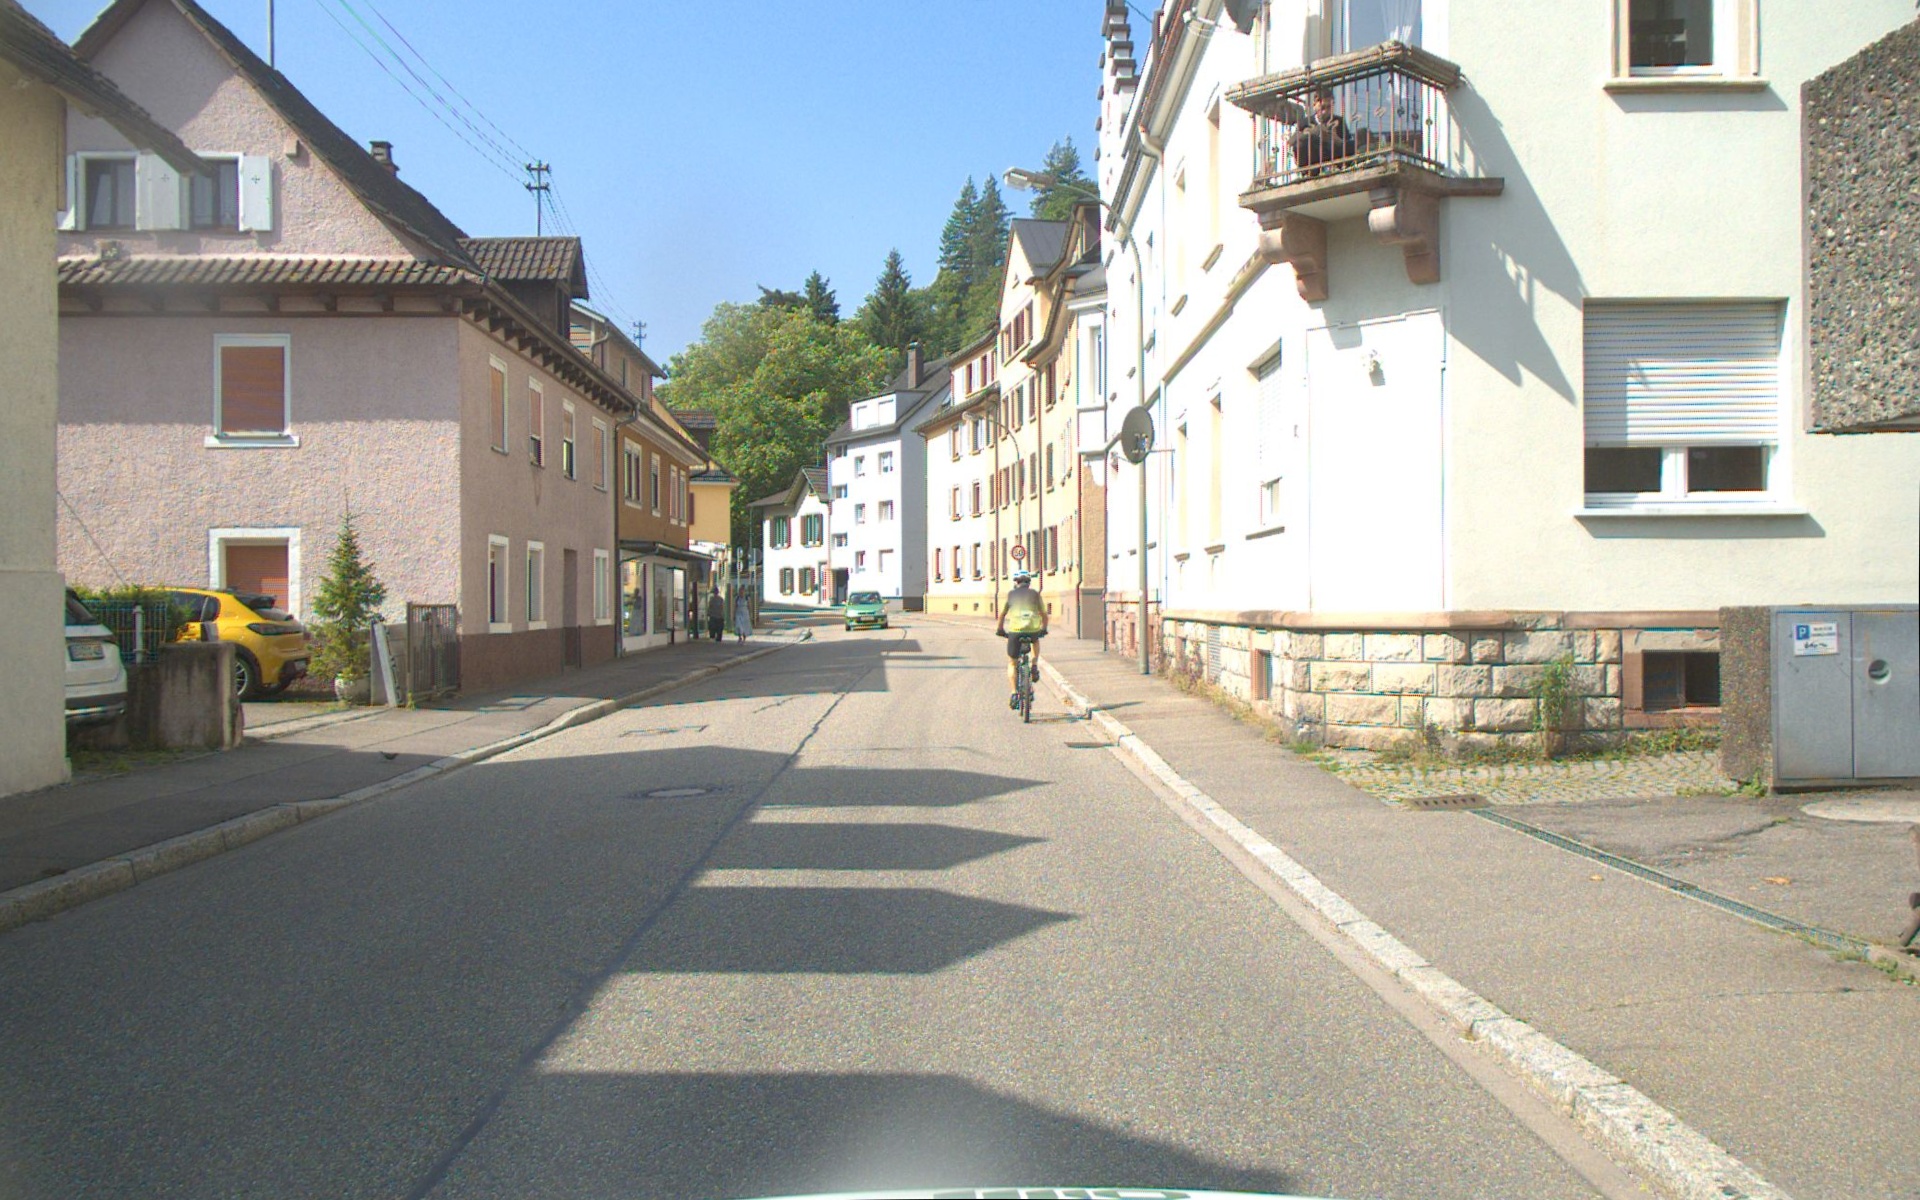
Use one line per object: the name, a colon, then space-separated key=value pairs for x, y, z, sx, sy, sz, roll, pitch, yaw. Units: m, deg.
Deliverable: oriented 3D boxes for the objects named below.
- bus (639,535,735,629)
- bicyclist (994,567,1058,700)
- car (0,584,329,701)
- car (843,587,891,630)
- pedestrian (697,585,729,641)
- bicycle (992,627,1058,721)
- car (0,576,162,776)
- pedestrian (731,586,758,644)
bus: x=-10.373 y=-0.672 z=63.680 sx=2.764 sy=3.284 sz=9.028 roll=1 pitch=0 yaw=-4
bicyclist: x=0.788 y=0.401 z=19.929 sx=0.672 sy=1.558 sz=0.715 roll=-1 pitch=0 yaw=-3
car: x=-10.514 y=0.543 z=21.908 sx=3.676 sy=1.417 sz=1.644 roll=1 pitch=1 yaw=-5
car: x=-3.531 y=0.294 z=63.226 sx=1.564 sy=1.490 sz=3.659 roll=-4 pitch=0 yaw=-1
pedestrian: x=-7.186 y=0.375 z=48.138 sx=0.720 sy=1.592 sz=0.824 roll=3 pitch=0 yaw=-1
bicycle: x=0.771 y=0.875 z=19.966 sx=0.684 sy=1.053 sz=1.470 roll=0 pitch=1 yaw=-3
car: x=-9.288 y=0.594 z=14.221 sx=3.908 sy=1.621 sz=1.906 roll=1 pitch=0 yaw=-4
pedestrian: x=-6.277 y=0.425 z=48.221 sx=0.626 sy=1.654 sz=0.777 roll=2 pitch=0 yaw=-1
